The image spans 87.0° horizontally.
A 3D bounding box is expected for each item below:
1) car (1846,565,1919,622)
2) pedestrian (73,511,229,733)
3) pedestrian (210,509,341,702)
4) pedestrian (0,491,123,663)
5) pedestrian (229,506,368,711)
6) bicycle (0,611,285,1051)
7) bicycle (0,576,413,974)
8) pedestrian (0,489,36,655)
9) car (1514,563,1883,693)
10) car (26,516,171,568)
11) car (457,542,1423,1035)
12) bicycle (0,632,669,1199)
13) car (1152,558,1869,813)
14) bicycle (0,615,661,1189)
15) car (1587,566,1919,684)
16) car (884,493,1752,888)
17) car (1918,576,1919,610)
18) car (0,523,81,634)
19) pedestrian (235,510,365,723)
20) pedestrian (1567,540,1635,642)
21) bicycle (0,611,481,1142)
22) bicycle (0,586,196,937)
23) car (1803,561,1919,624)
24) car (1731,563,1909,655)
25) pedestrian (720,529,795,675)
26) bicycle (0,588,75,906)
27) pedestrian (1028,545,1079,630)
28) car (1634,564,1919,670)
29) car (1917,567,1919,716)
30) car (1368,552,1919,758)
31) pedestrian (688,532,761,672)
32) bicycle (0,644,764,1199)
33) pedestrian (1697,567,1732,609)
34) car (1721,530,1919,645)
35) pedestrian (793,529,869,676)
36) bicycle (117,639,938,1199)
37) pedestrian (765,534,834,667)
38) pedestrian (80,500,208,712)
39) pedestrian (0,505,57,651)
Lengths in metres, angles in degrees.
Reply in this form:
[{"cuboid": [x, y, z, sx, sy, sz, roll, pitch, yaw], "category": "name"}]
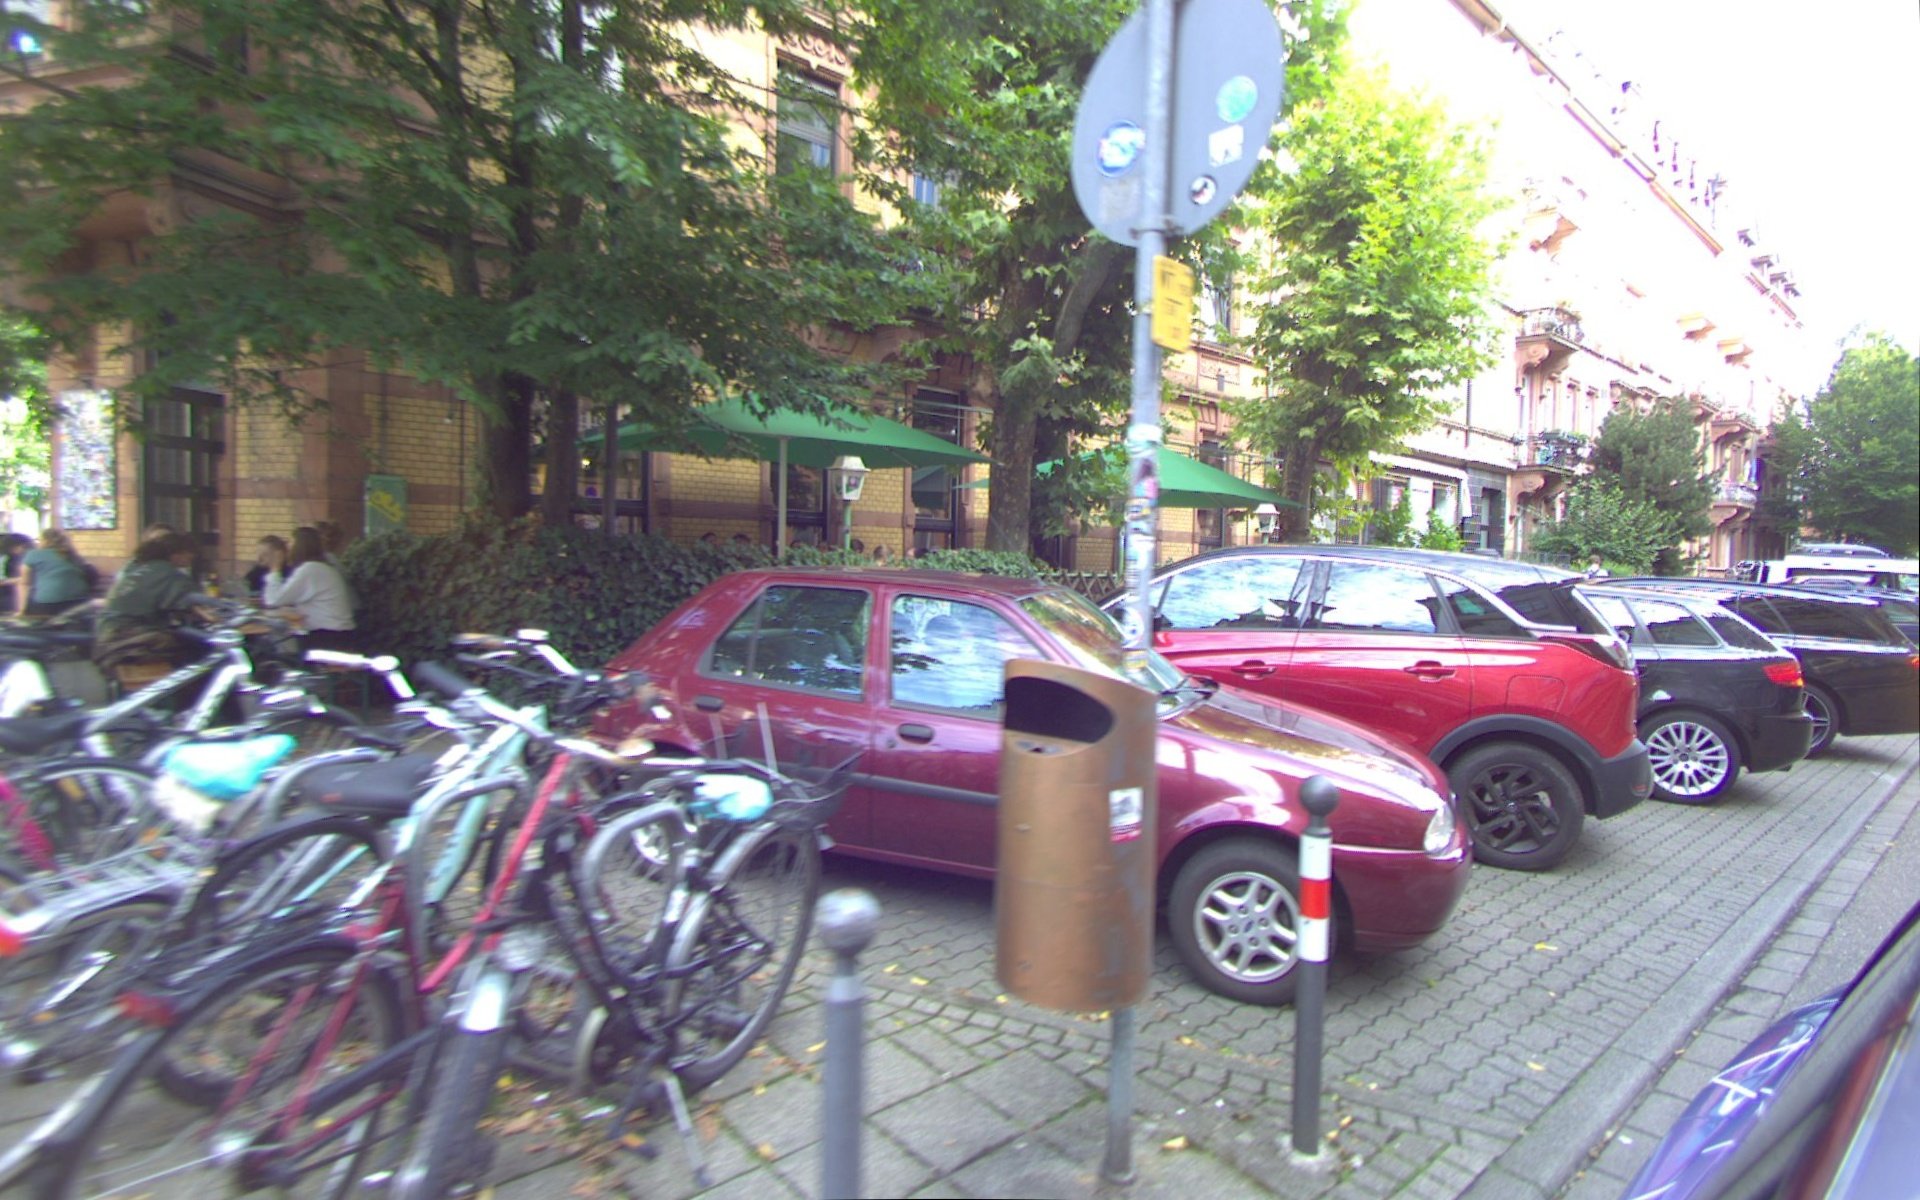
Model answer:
[{"cuboid": [33.733, -0.153, 34.874, 4.345, 1.844, 1.746, 3, 3, 17], "category": "car"}, {"cuboid": [-5.399, 0.118, 6.754, 0.672, 1.375, 0.746, 3, 2, 44], "category": "pedestrian"}, {"cuboid": [-5.395, 0.023, 7.978, 0.673, 1.424, 0.746, 3, 2, 45], "category": "pedestrian"}, {"cuboid": [-8.647, -0.224, 9.745, 0.613, 1.583, 0.670, 1, 1, 5], "category": "pedestrian"}, {"cuboid": [-4.922, 0.045, 7.533, 0.673, 1.424, 0.746, 3, 2, 45], "category": "pedestrian"}, {"cuboid": [-2.675, 0.623, 2.421, 0.385, 1.052, 1.910, 5, 4, 19], "category": "bicycle"}, {"cuboid": [-2.733, 0.497, 3.402, 0.350, 1.086, 1.788, 5, 4, 19], "category": "bicycle"}, {"cuboid": [-9.496, -0.276, 9.730, 0.594, 1.583, 0.691, 1, 1, 7], "category": "pedestrian"}, {"cuboid": [10.070, 0.320, 14.106, 3.661, 1.503, 1.736, 3, 2, 11], "category": "car"}, {"cuboid": [-33.765, -2.214, 39.743, 1.990, 1.859, 4.061, 0, 0, 39], "category": "car"}, {"cuboid": [-0.119, 0.517, 4.627, 3.896, 1.475, 1.758, 2, 2, 21], "category": "car"}, {"cuboid": [-1.496, 0.691, 2.450, 0.344, 1.052, 2.005, 5, 4, 21], "category": "bicycle"}, {"cuboid": [3.894, 0.460, 7.945, 4.368, 1.475, 1.927, 2, 2, 25], "category": "car"}, {"cuboid": [-1.628, 0.639, 2.986, 0.344, 1.052, 1.845, 5, 4, 21], "category": "bicycle"}, {"cuboid": [12.524, 0.341, 15.591, 4.404, 1.482, 1.872, 4, 2, 15], "category": "car"}, {"cuboid": [1.881, 0.301, 6.268, 4.307, 1.665, 1.808, 4, 3, 23], "category": "car"}, {"cuboid": [49.983, -0.249, 49.607, 3.941, 1.720, 1.845, 2, 1, 14], "category": "car"}, {"cuboid": [-15.880, -0.367, 14.636, 4.332, 1.571, 2.005, 1, 2, -18], "category": "car"}, {"cuboid": [-4.524, 0.090, 6.937, 0.670, 1.368, 0.619, 3, 2, 45], "category": "pedestrian"}, {"cuboid": [12.265, -0.186, 19.367, 0.709, 1.901, 0.842, 0, 2, -37], "category": "pedestrian"}, {"cuboid": [-2.157, 0.628, 2.614, 0.439, 1.052, 1.895, 5, 4, 19], "category": "bicycle"}, {"cuboid": [-3.170, 0.523, 3.046, 0.332, 1.052, 1.448, 5, 4, 19], "category": "bicycle"}, {"cuboid": [30.192, -0.171, 32.402, 1.779, 1.806, 4.646, 2, 3, -42], "category": "car"}, {"cuboid": [18.207, 0.154, 21.546, 2.441, 1.687, 1.337, 5, 2, 23], "category": "car"}, {"cuboid": [-2.288, 0.003, 11.420, 0.628, 1.589, 0.561, 3, 2, 45], "category": "pedestrian"}, {"cuboid": [-3.573, 0.509, 3.021, 0.445, 1.053, 1.378, 2, 2, 18], "category": "bicycle"}, {"cuboid": [1.404, -0.196, 15.182, 0.465, 1.233, 0.555, 5, 4, 39], "category": "pedestrian"}, {"cuboid": [14.620, 0.266, 17.530, 4.397, 1.495, 1.885, 4, 2, 9], "category": "car"}, {"cuboid": [13.170, 0.470, 11.682, 4.298, 1.674, 1.878, 0, 1, -29], "category": "car"}, {"cuboid": [6.575, 0.416, 9.819, 4.712, 1.474, 2.043, 4, 2, 21], "category": "car"}, {"cuboid": [-2.776, 0.004, 11.928, 0.628, 1.589, 0.561, 3, 2, 45], "category": "pedestrian"}, {"cuboid": [-1.138, 0.729, 2.302, 0.455, 1.052, 1.846, 5, 4, 19], "category": "bicycle"}, {"cuboid": [28.385, -0.457, 38.081, 0.927, 1.515, 0.800, 4, 3, 42], "category": "pedestrian"}, {"cuboid": [20.864, -0.288, 23.121, 5.088, 2.434, 1.909, 2, 2, 16], "category": "car"}, {"cuboid": [-1.534, 0.011, 12.019, 0.646, 1.662, 0.554, 6, 5, 44], "category": "pedestrian"}, {"cuboid": [-0.648, 0.713, 2.223, 0.543, 1.052, 1.846, 5, 4, 19], "category": "bicycle"}, {"cuboid": [-1.982, -0.012, 12.503, 0.628, 1.589, 0.561, 3, 2, 45], "category": "pedestrian"}, {"cuboid": [-5.810, 0.027, 7.210, 0.572, 1.424, 0.628, 2, 2, 41], "category": "pedestrian"}, {"cuboid": [-10.642, -0.257, 11.265, 0.623, 1.583, 0.702, 1, 2, -14], "category": "pedestrian"}]
